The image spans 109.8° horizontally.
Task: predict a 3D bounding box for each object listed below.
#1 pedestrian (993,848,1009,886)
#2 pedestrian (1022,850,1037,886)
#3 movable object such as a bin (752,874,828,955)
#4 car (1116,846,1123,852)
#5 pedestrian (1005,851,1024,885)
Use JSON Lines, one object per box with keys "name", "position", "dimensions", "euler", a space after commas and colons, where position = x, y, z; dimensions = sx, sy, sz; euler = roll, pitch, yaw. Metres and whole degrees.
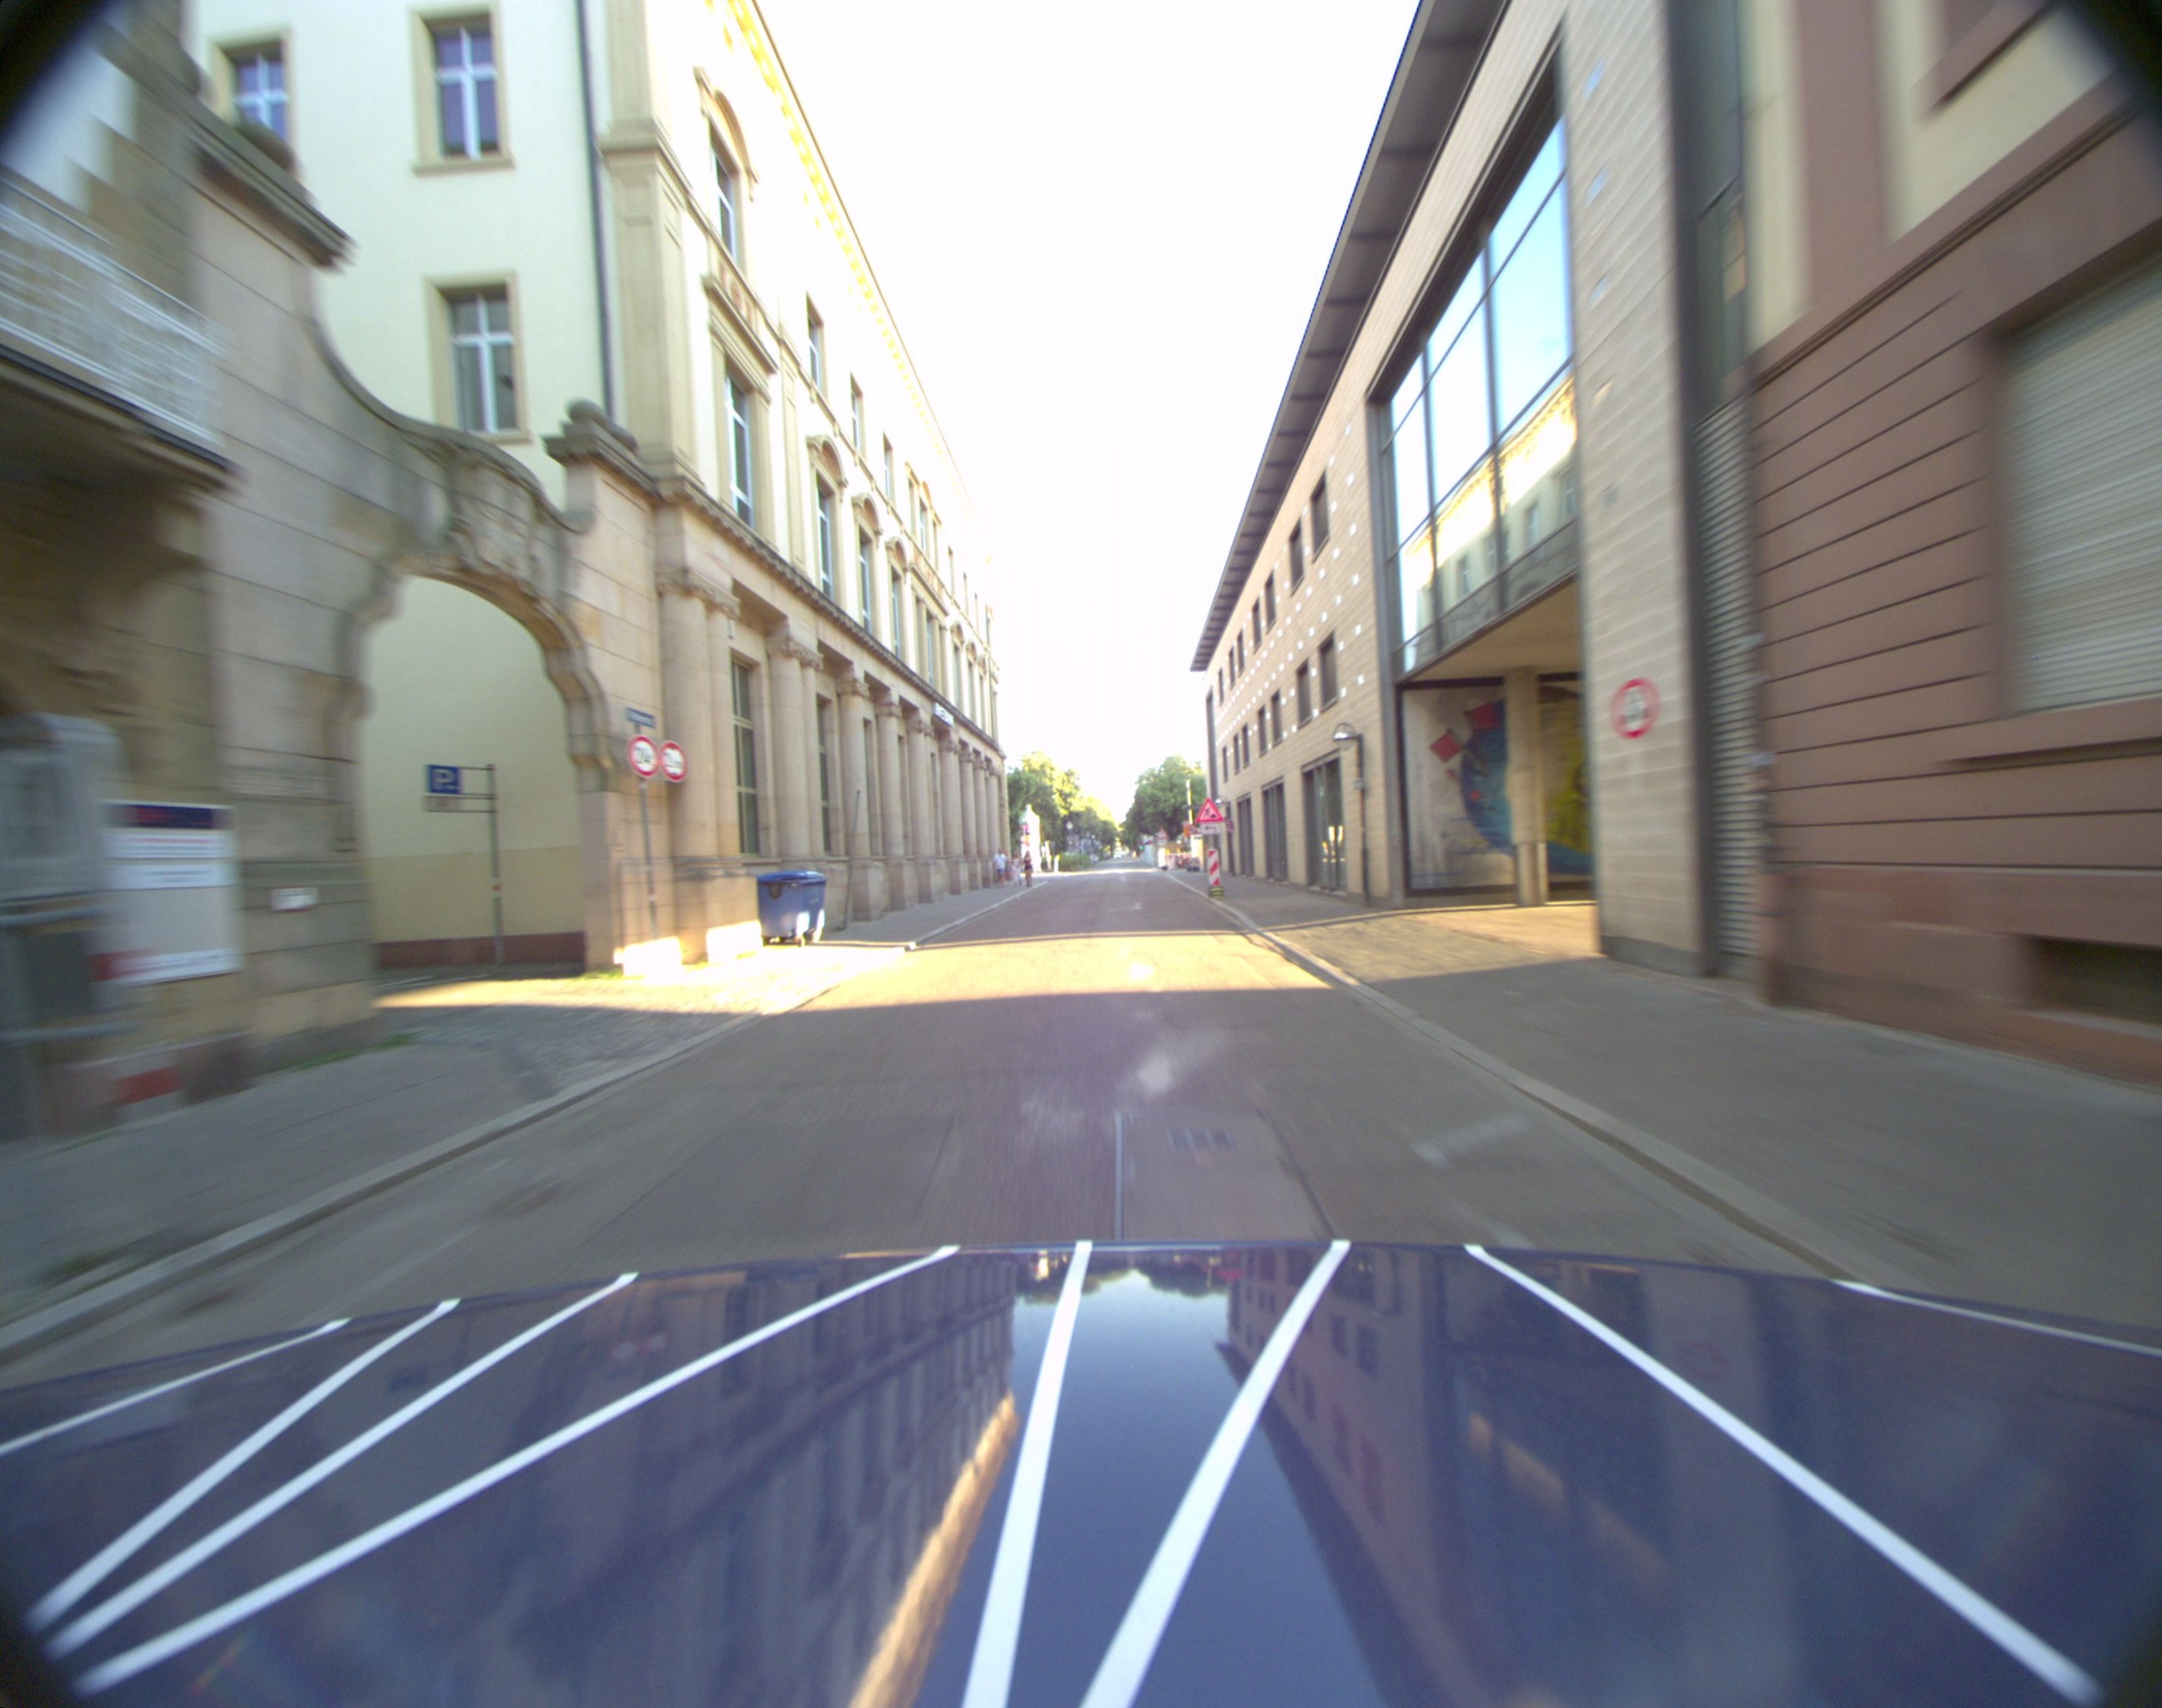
{"name": "pedestrian", "position": [-3.692, 0.604, 35.275], "dimensions": [0.648, 1.769, 0.758], "euler": [0, 1, 1]}
{"name": "pedestrian", "position": [-2.410, 0.631, 35.425], "dimensions": [0.648, 1.643, 0.758], "euler": [0, 1, 1]}
{"name": "movable object such as a bin", "position": [-5.251, 1.061, 13.778], "dimensions": [0.898, 1.367, 1.137], "euler": [0, 1, 2]}
{"name": "car", "position": [12.382, -1.616, 243.814], "dimensions": [1.858, 1.519, 4.001], "euler": [-2, 1, 4]}
{"name": "pedestrian", "position": [-3.197, 0.657, 36.672], "dimensions": [0.855, 1.589, 0.924], "euler": [0, 1, 1]}
